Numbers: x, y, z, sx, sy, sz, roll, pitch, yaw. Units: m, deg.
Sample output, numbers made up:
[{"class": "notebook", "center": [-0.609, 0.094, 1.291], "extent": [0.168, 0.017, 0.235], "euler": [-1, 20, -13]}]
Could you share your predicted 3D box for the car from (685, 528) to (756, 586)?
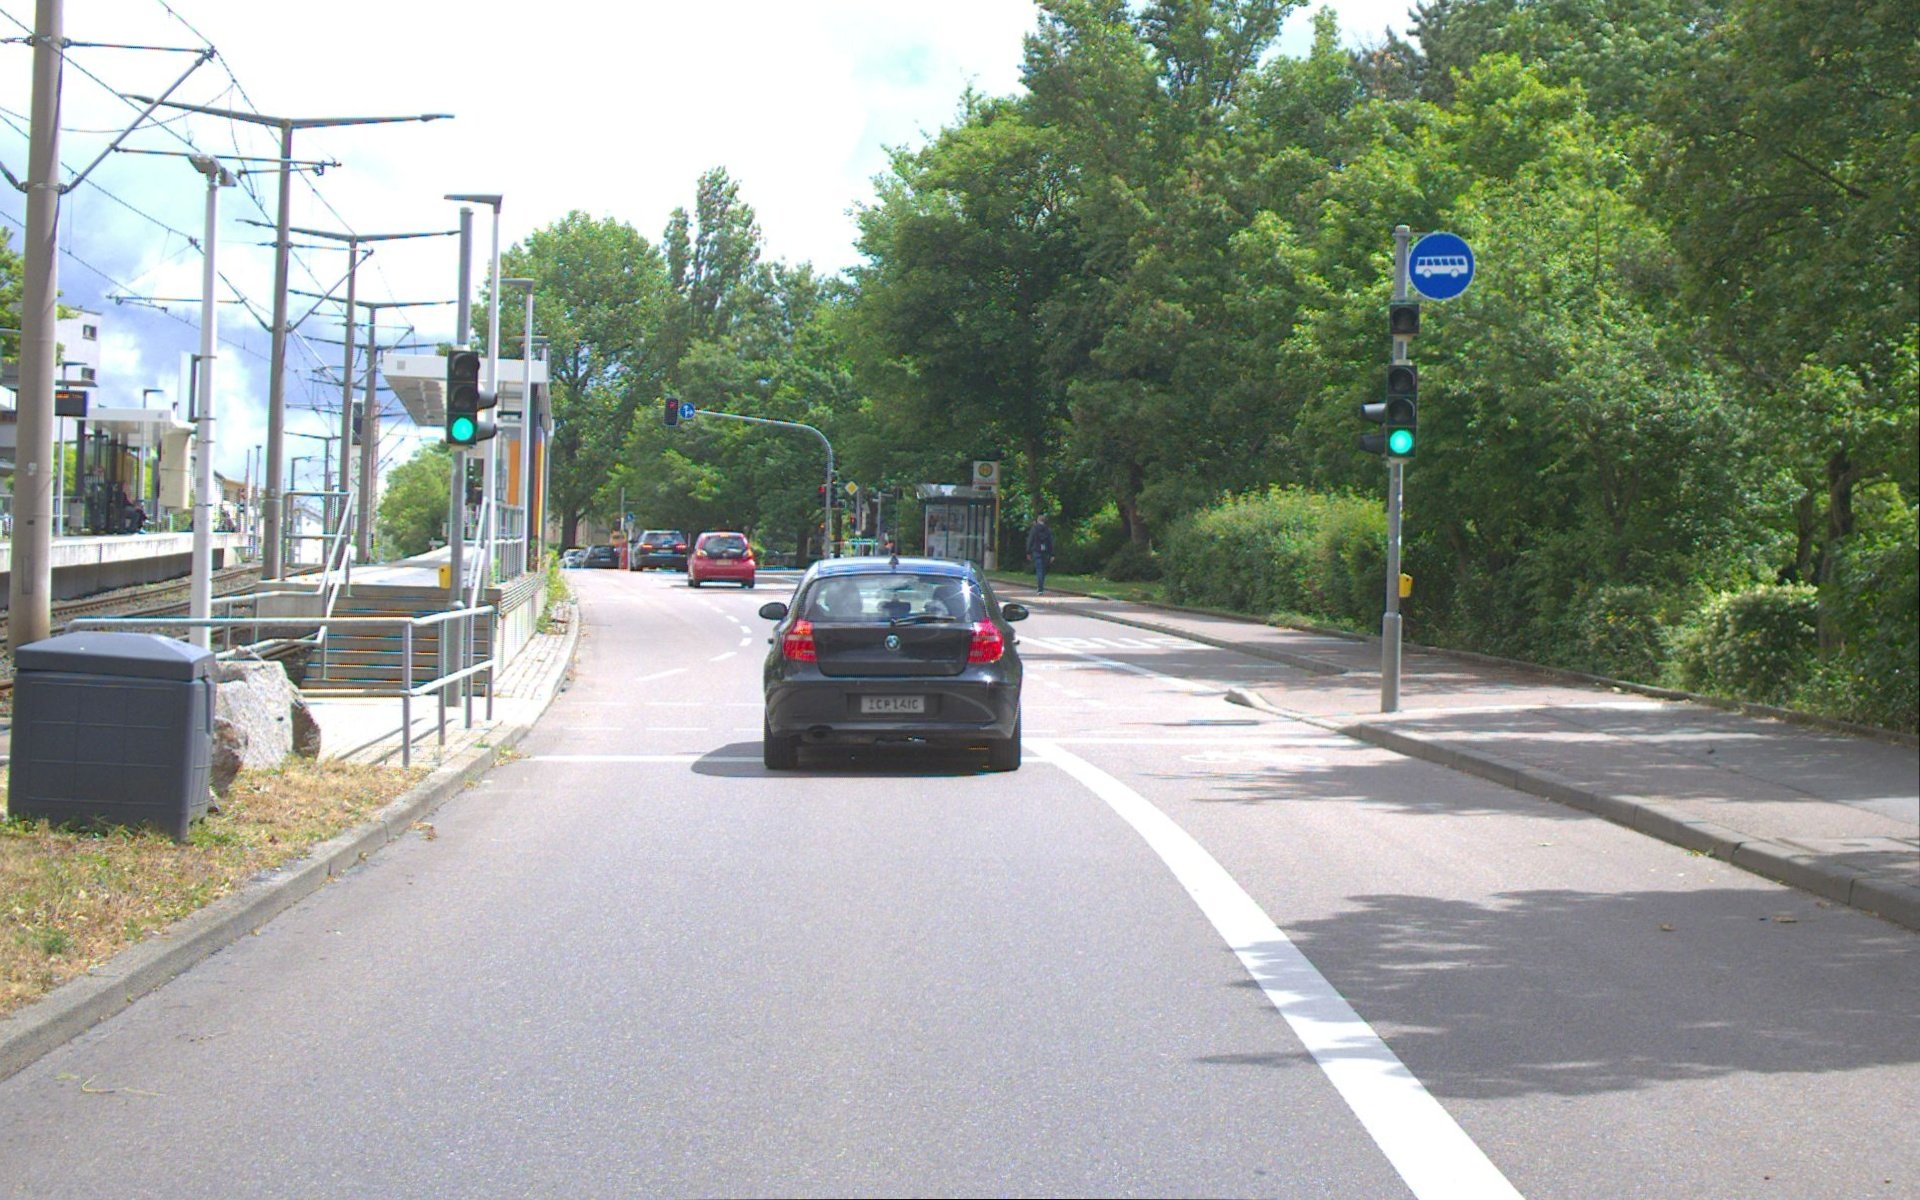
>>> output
[{"class": "car", "center": [-6.358, -1.153, 91.052], "extent": [1.781, 1.454, 3.922], "euler": [1, 1, -5]}]

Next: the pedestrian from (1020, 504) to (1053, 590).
[{"class": "pedestrian", "center": [1.808, -1.250, 81.360], "extent": [0.740, 2.007, 0.681], "euler": [1, 1, -1]}]

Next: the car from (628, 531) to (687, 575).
[{"class": "car", "center": [-10.499, -1.637, 119.112], "extent": [1.909, 1.454, 4.003], "euler": [1, 1, -7]}]

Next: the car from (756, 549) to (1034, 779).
[{"class": "car", "center": [-0.529, 0.380, 23.976], "extent": [1.781, 1.454, 3.922], "euler": [0, 1, -3]}]
